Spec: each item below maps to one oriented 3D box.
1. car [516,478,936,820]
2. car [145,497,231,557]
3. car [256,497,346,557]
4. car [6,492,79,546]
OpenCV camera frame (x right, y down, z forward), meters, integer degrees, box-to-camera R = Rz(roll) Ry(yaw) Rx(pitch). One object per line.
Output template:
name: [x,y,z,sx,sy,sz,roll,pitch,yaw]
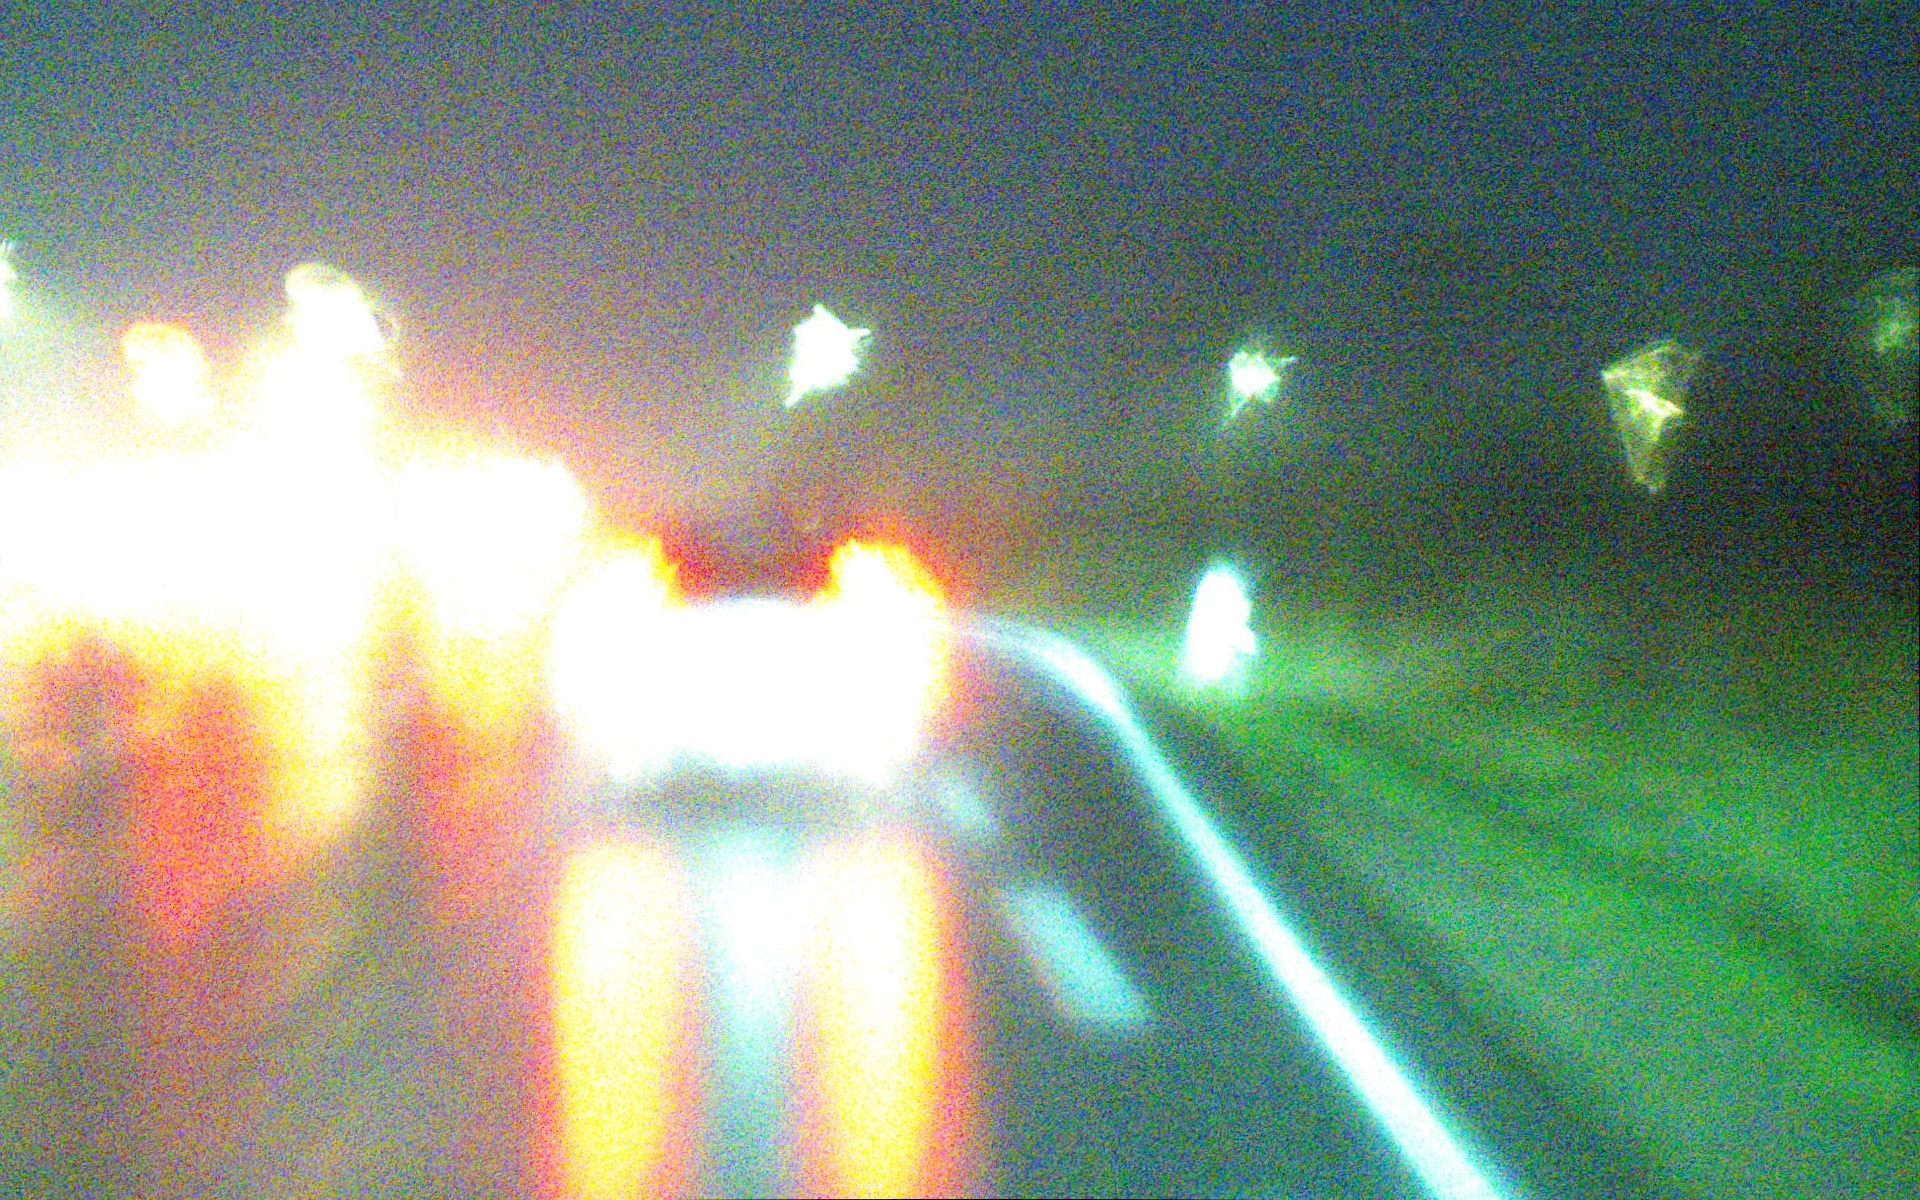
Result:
car: [-1.181,0.219,18.941,1.993,1.622,4.985,0,0,-1]
car: [-22.908,-2.182,101.854,1.993,1.622,4.986,-2,3,-18]
car: [-19.594,-2.184,102.057,1.993,1.622,4.986,-2,3,-18]
car: [-29.821,-2.651,111.698,1.993,1.622,4.986,-2,3,-18]
